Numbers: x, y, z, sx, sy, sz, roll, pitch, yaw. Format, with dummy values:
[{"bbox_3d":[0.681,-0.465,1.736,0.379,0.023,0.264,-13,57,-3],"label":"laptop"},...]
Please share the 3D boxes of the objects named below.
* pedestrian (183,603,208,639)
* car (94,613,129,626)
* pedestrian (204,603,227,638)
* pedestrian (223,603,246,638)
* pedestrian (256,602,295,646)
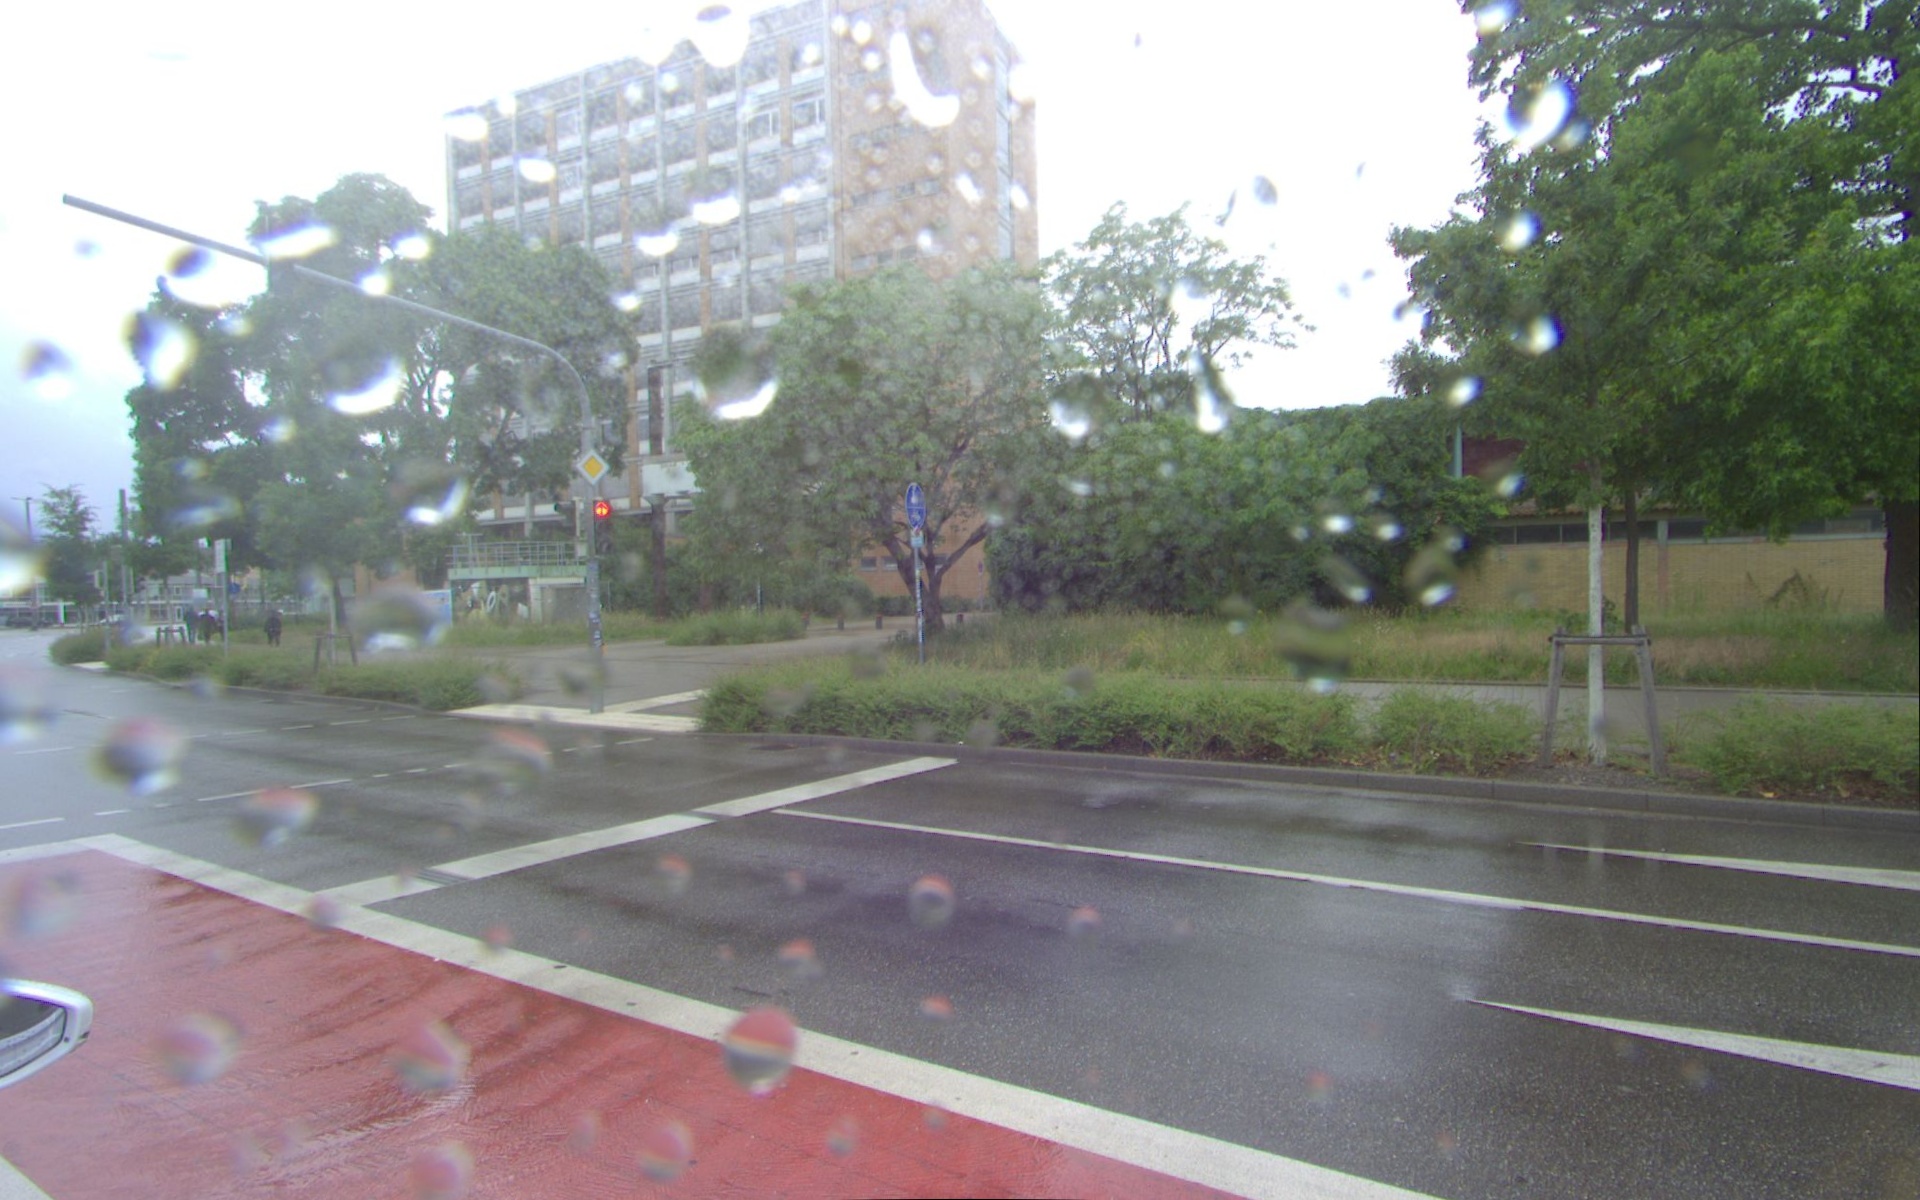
[{"bbox_3d":[-35.373,0.973,46.329,0.926,1.609,0.749,0,1,43],"label":"pedestrian"},{"bbox_3d":[-112.566,2.552,132.840,1.762,1.665,4.154,-1,0,-12],"label":"car"},{"bbox_3d":[-34.738,0.958,46.719,0.926,1.609,0.699,0,1,43],"label":"pedestrian"},{"bbox_3d":[-34.160,0.944,47.153,0.926,1.609,0.699,0,1,43],"label":"pedestrian"},{"bbox_3d":[-26.152,0.910,38.247,0.926,1.609,1.017,0,1,42],"label":"pedestrian"}]
